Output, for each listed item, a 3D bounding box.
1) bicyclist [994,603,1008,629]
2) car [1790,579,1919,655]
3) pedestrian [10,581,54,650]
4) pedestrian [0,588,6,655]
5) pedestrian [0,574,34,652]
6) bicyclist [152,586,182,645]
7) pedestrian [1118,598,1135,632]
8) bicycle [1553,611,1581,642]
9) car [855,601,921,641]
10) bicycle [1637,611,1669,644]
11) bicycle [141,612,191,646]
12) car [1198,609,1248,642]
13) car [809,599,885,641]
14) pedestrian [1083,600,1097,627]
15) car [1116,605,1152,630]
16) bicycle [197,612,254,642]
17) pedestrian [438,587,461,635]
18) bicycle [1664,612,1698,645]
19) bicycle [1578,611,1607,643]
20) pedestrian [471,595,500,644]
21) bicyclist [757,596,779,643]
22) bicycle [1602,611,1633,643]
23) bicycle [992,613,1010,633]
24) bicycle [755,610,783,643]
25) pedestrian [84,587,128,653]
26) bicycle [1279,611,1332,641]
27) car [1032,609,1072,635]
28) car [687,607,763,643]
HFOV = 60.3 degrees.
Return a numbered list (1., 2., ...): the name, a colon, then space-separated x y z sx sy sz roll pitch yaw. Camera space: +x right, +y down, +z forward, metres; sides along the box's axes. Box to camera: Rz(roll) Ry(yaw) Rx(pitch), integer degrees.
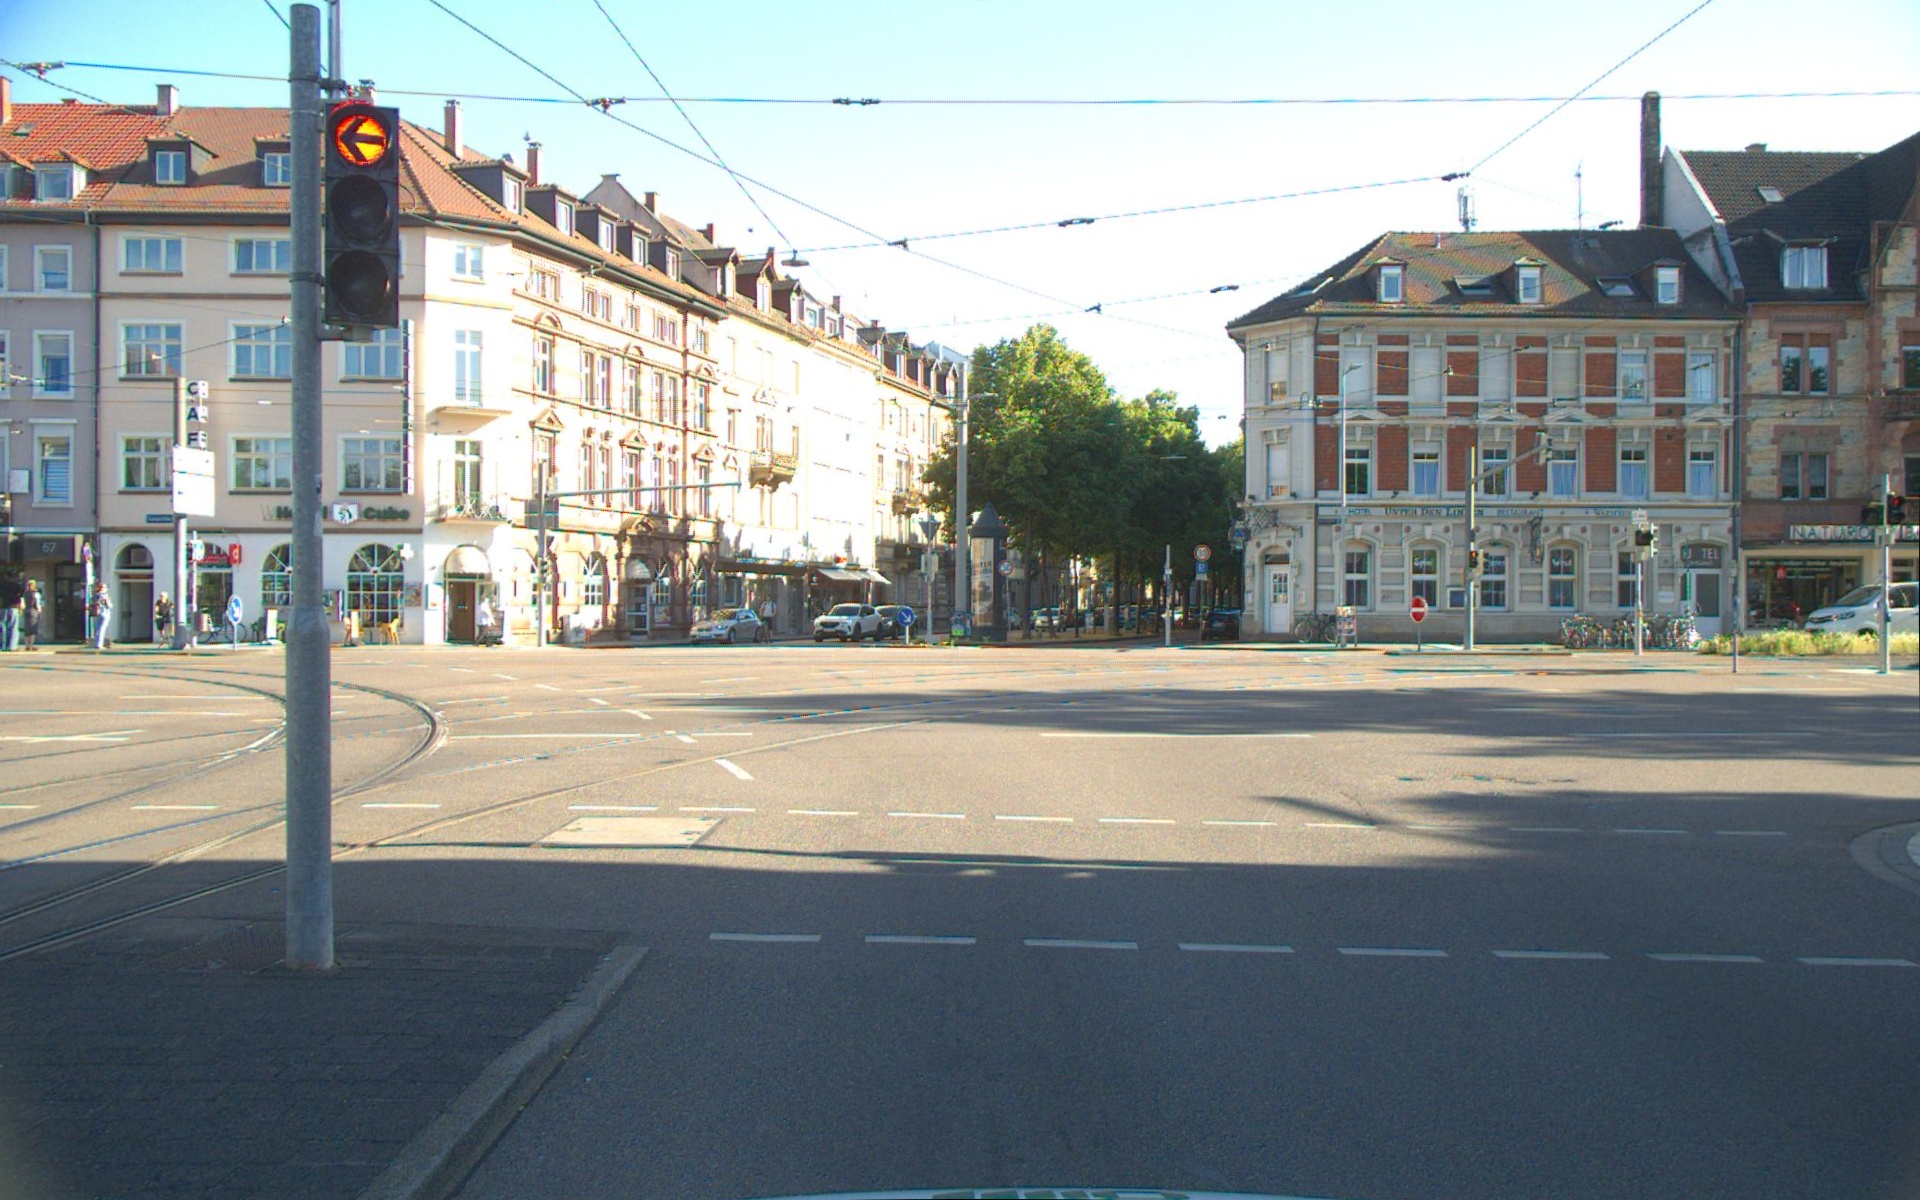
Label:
1. bicyclist: 2.572 1.011 103.522 0.659 1.595 0.748 1 -1 17
2. car: 24.464 0.432 42.710 5.094 1.886 1.999 0 0 -2
3. pedestrian: -22.953 0.372 40.921 0.571 1.677 0.840 1 -1 -1
4. pedestrian: -24.291 0.540 41.231 0.561 1.677 0.727 1 -1 -1
5. pedestrian: -22.889 0.315 40.038 0.516 1.854 0.676 1 -1 -1
6. bicyclist: -24.881 0.495 51.895 0.608 1.822 0.615 1 -1 4
7. pedestrian: 10.290 0.908 102.244 0.941 2.049 0.918 1 -1 0
8. bicycle: 19.813 0.852 54.036 0.749 0.979 2.211 1 0 17
9. car: -3.184 0.928 73.553 1.786 1.715 3.877 1 0 16
10. bicycle: 22.473 0.885 53.662 0.749 1.025 2.221 1 0 17
11. bicycle: -24.888 0.906 51.871 0.608 1.048 1.755 1 0 4
12. car: 13.173 1.269 82.667 1.719 1.583 4.001 1 0 20
13. car: -4.551 0.804 67.179 1.764 1.613 4.162 1 0 16
14. pedestrian: 9.782 1.024 124.508 0.923 2.049 0.827 1 -1 13
15. car: 12.330 1.219 116.781 1.951 1.713 4.003 1 0 15
16. bicycle: -25.091 0.915 56.508 1.666 1.000 0.611 1 0 -1
17. pedestrian: -18.091 0.384 58.643 0.489 1.705 0.585 0 -1 44
18. bicycle: 23.354 0.899 53.584 0.775 1.033 2.211 1 0 17
19. bicycle: 20.567 0.865 53.799 0.749 0.985 2.211 1 0 17
20. pedestrian: -16.139 0.658 56.278 0.556 1.671 0.792 1 -1 22
21. bicyclist: -7.537 0.769 65.034 0.553 1.835 0.915 1 -1 14
22. bicycle: 21.346 0.878 53.707 0.749 1.001 2.211 1 0 17
23. bicycle: 2.566 1.419 103.517 0.659 1.228 1.822 1 0 17
24. bicycle: -7.517 1.053 65.093 0.553 1.276 1.558 1 0 14
25. pedestrian: -21.221 0.495 41.123 0.655 1.622 0.815 1 -1 -1
26. bicycle: 11.984 0.900 57.289 1.764 0.979 0.604 1 0 14
27. car: 5.952 1.401 106.629 1.764 1.603 3.893 1 0 15
28. car: -9.458 0.984 66.848 1.624 1.398 3.894 1 0 14
